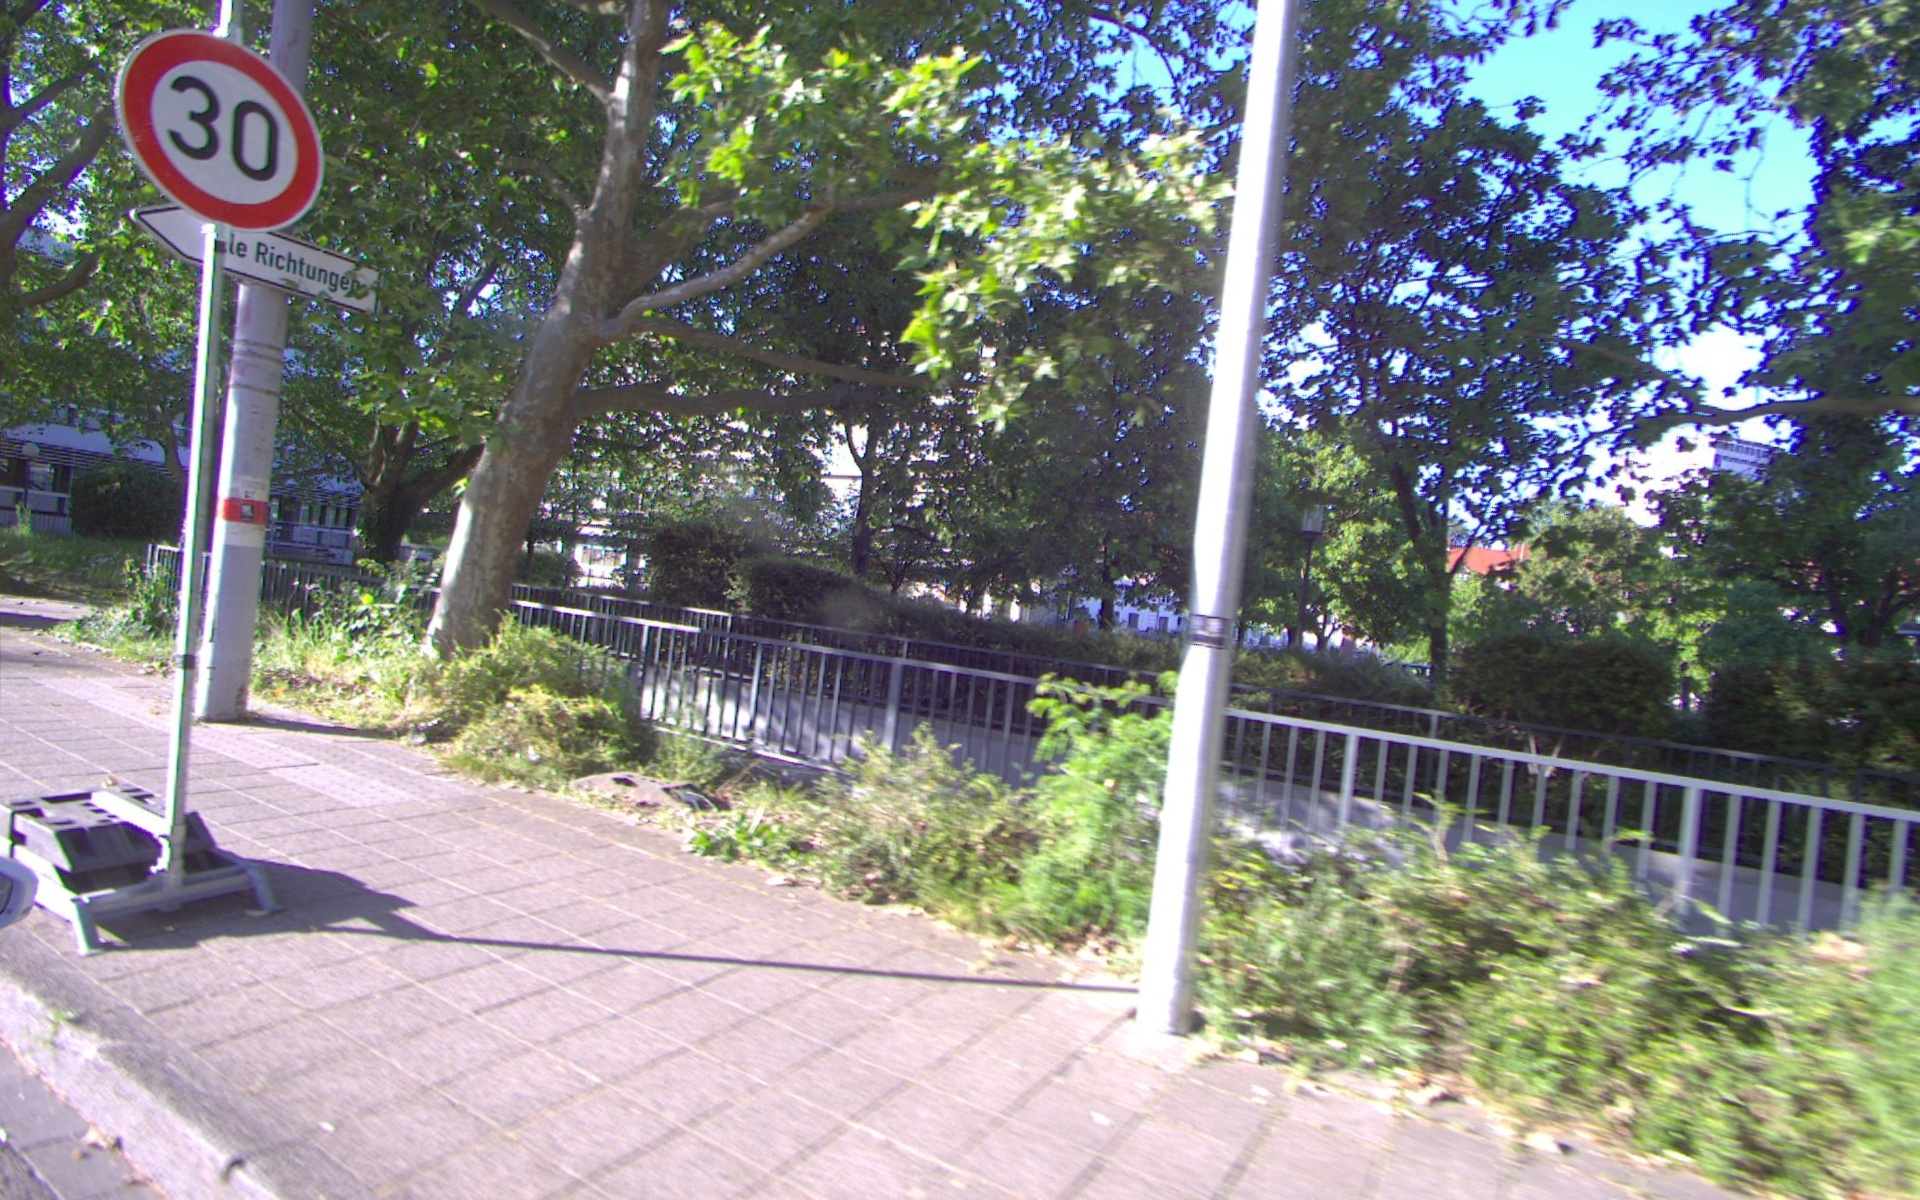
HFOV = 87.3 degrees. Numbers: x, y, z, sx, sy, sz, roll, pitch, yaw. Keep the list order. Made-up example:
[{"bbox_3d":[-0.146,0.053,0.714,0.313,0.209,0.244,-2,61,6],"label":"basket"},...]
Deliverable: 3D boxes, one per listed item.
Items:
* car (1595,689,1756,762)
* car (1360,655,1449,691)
[{"bbox_3d":[22.879,3.999,32.389,3.934,1.645,1.922,7,-2,32],"label":"car"},{"bbox_3d":[26.682,4.369,60.443,4.580,1.492,2.012,7,-2,32],"label":"car"}]
